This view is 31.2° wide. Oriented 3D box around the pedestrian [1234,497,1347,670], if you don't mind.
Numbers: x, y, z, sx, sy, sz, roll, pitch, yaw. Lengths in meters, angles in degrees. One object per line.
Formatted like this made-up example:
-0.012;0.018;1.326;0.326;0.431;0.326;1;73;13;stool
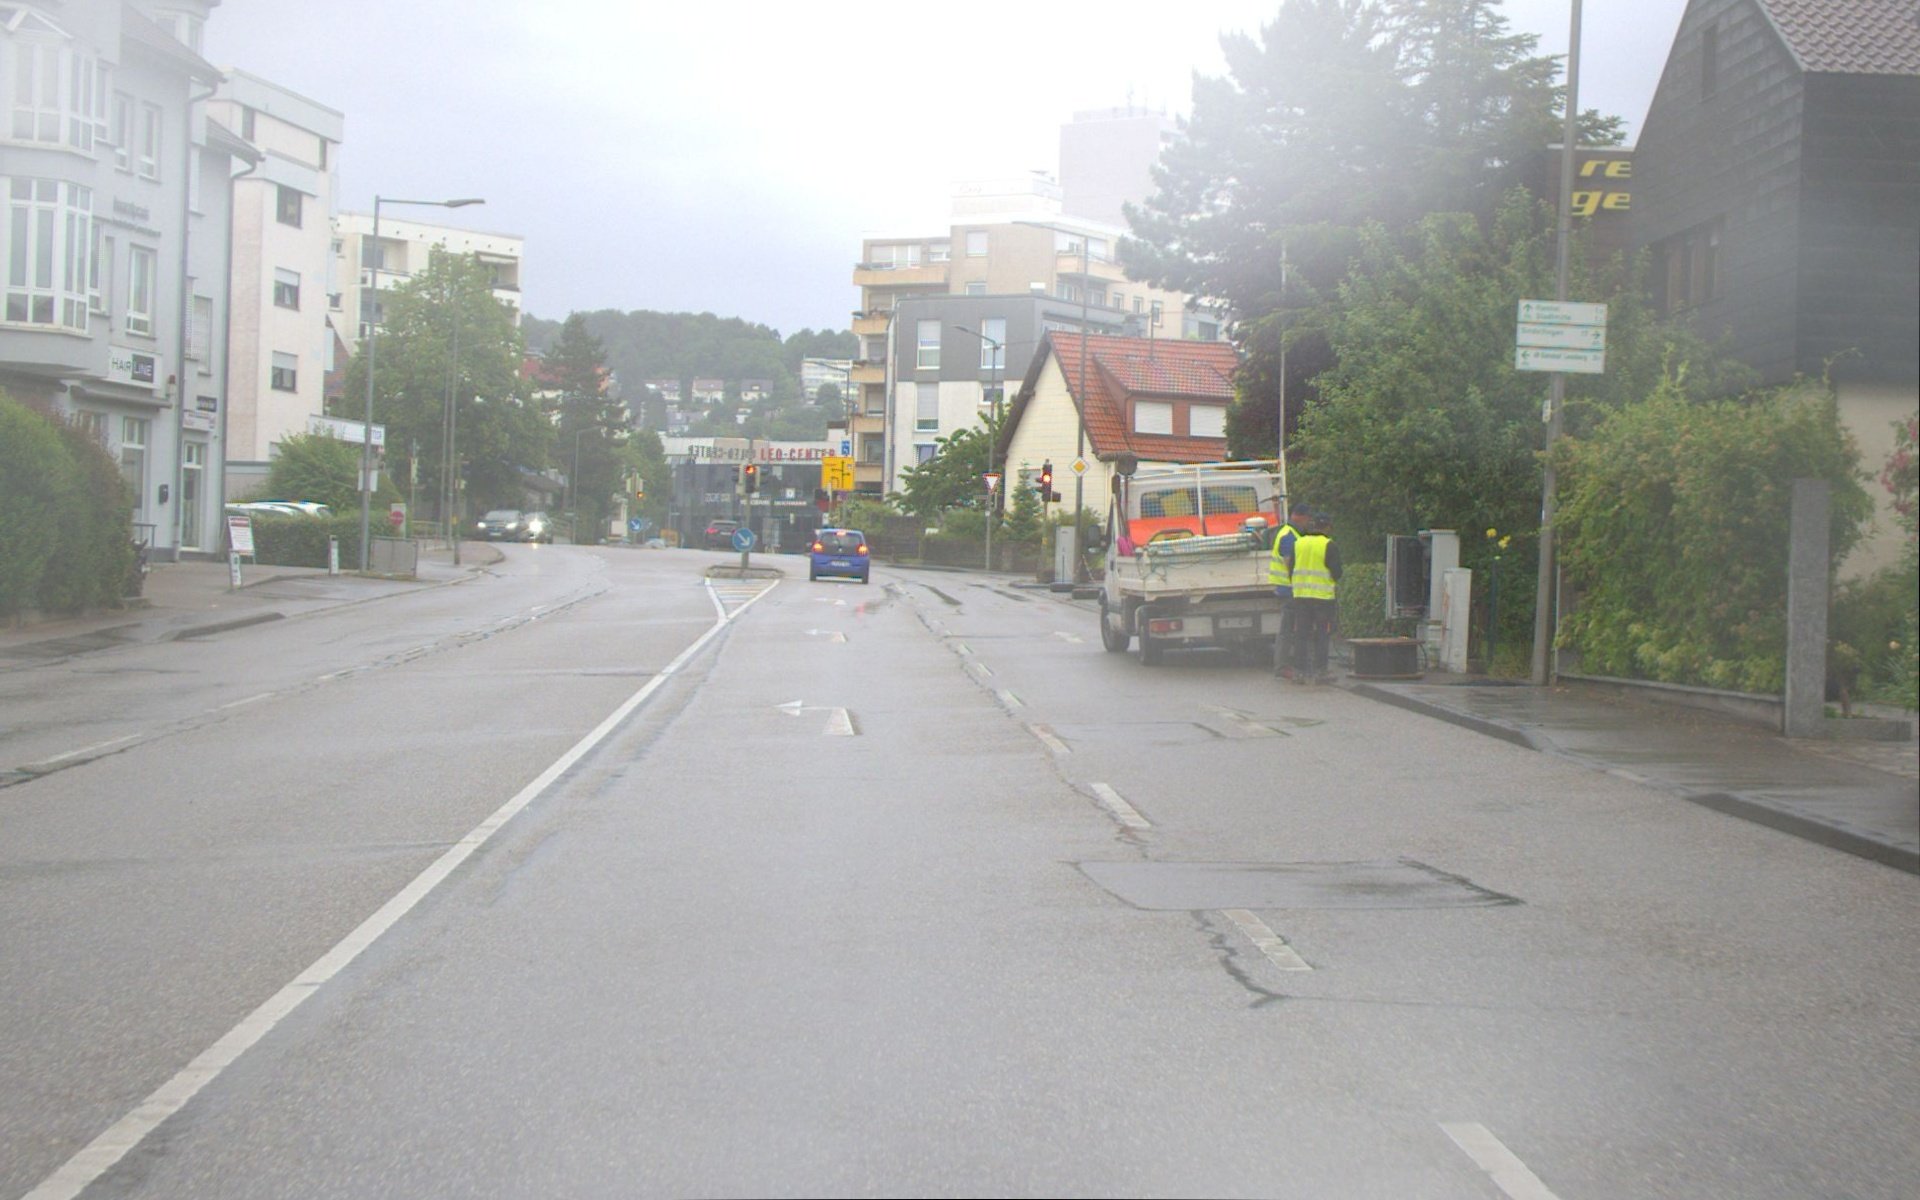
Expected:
3.337;-0.171;34.769;0.822;1.720;0.841;1;1;-19;pedestrian

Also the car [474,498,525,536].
-20.233;-3.643;151.281;1.659;1.458;4.000;6;0;-1;car

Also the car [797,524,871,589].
-3.422;-1.202;94.082;1.794;1.664;4.000;3;1;0;car

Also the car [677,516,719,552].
-11.939;-3.006;156.794;1.579;1.433;4.000;6;0;-1;car

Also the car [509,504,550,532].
-19.937;-3.786;159.210;1.437;1.231;4.000;3;1;-1;car

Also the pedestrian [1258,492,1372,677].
3.499;-0.160;33.905;0.822;1.791;0.800;1;1;-19;pedestrian

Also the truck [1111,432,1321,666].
2.807;-0.539;38.502;1.994;2.295;4.000;6;0;2;truck

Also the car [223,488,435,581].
-15.179;-1.579;82.749;4.525;2.007;1.999;3;1;13;car

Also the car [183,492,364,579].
-17.554;-1.639;87.994;3.989;2.007;1.999;3;1;10;car
